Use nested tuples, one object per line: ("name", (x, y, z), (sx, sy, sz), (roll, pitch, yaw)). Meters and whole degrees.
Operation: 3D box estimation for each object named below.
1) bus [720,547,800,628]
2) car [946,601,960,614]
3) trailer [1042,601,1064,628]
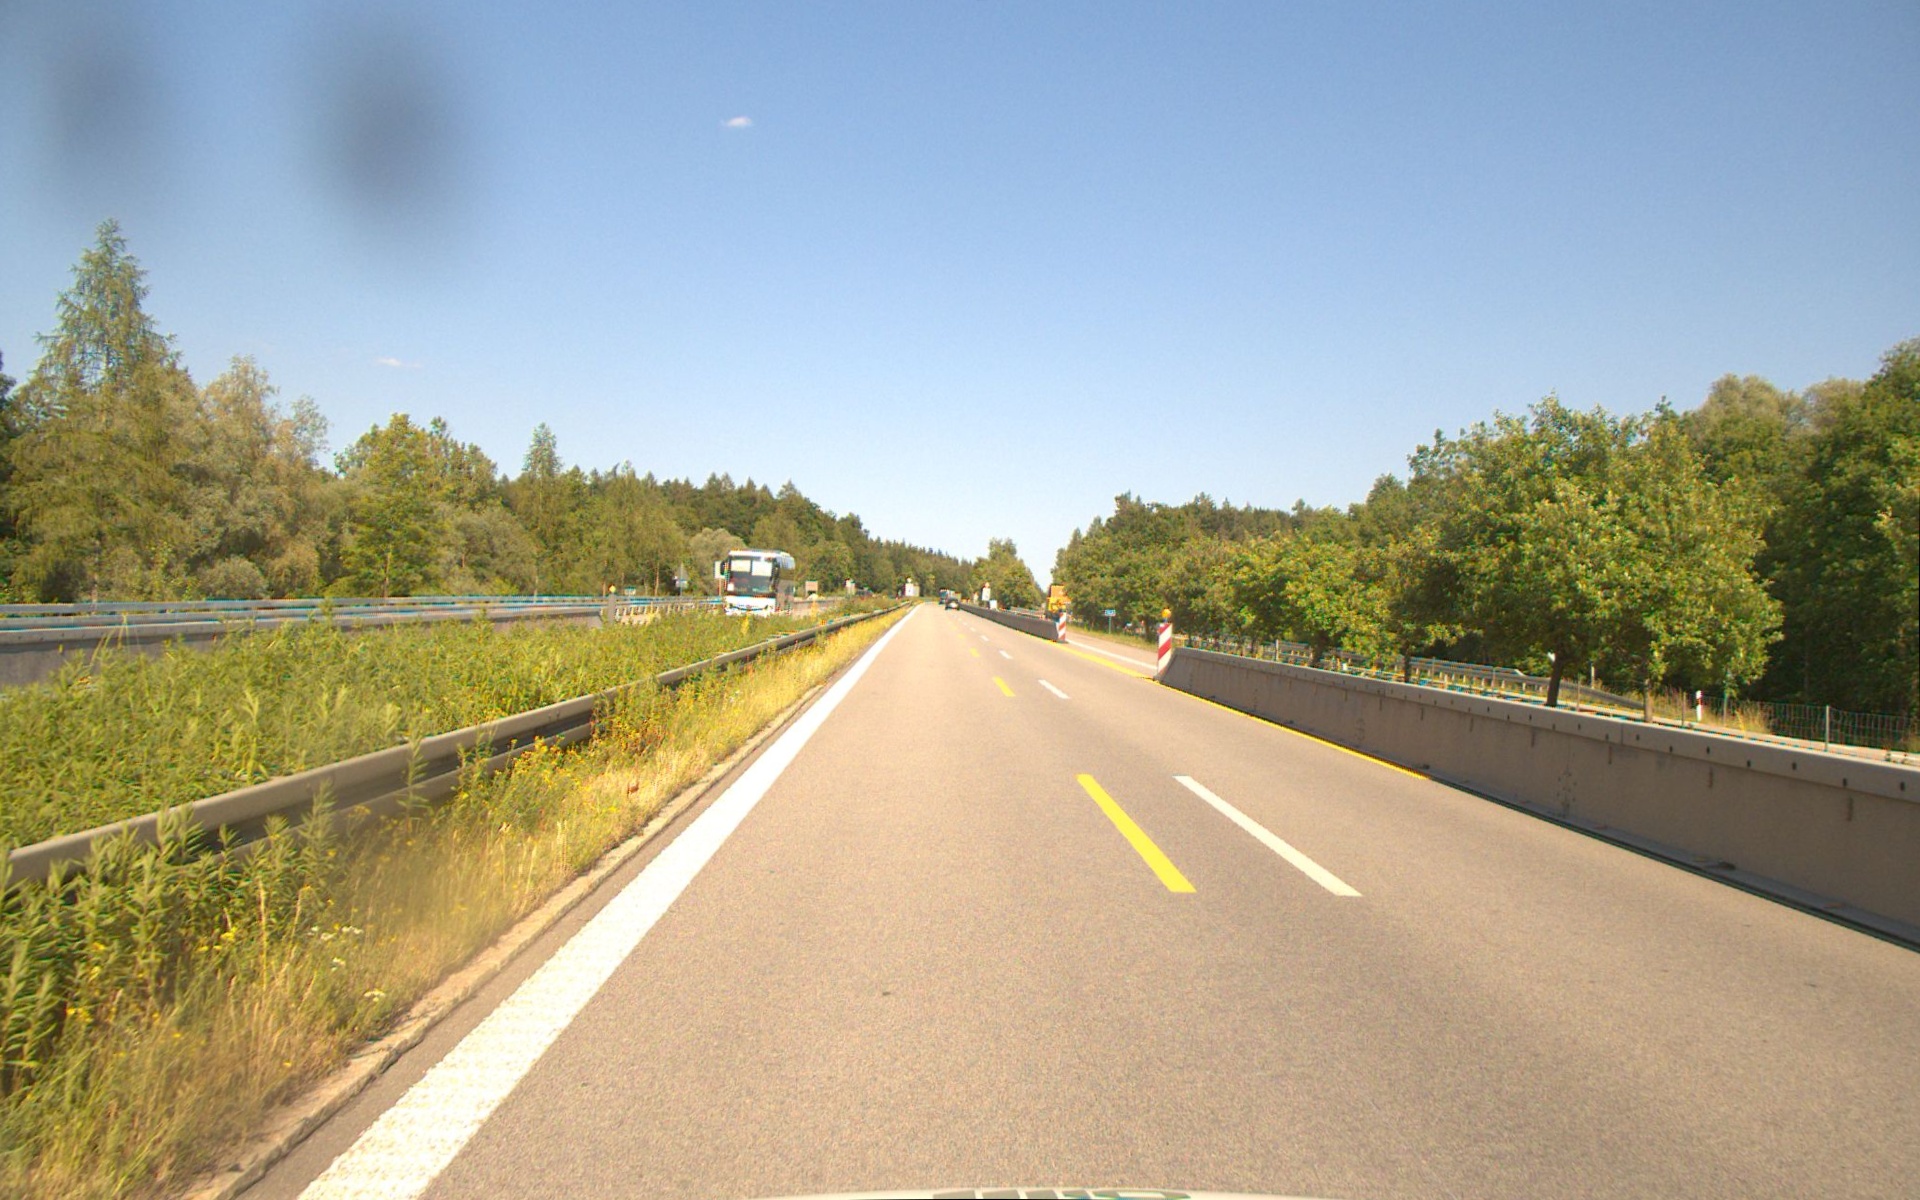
("bus", (-10.168, -0.596, 85.392), (2.823, 3.734, 12.913), (3, 0, -2))
("car", (-0.894, 0.890, 205.496), (1.708, 1.492, 4.293), (2, 0, -1))
("trailer", (6.800, 1.043, 121.487), (1.102, 1.906, 3.998), (2, 0, -3))
